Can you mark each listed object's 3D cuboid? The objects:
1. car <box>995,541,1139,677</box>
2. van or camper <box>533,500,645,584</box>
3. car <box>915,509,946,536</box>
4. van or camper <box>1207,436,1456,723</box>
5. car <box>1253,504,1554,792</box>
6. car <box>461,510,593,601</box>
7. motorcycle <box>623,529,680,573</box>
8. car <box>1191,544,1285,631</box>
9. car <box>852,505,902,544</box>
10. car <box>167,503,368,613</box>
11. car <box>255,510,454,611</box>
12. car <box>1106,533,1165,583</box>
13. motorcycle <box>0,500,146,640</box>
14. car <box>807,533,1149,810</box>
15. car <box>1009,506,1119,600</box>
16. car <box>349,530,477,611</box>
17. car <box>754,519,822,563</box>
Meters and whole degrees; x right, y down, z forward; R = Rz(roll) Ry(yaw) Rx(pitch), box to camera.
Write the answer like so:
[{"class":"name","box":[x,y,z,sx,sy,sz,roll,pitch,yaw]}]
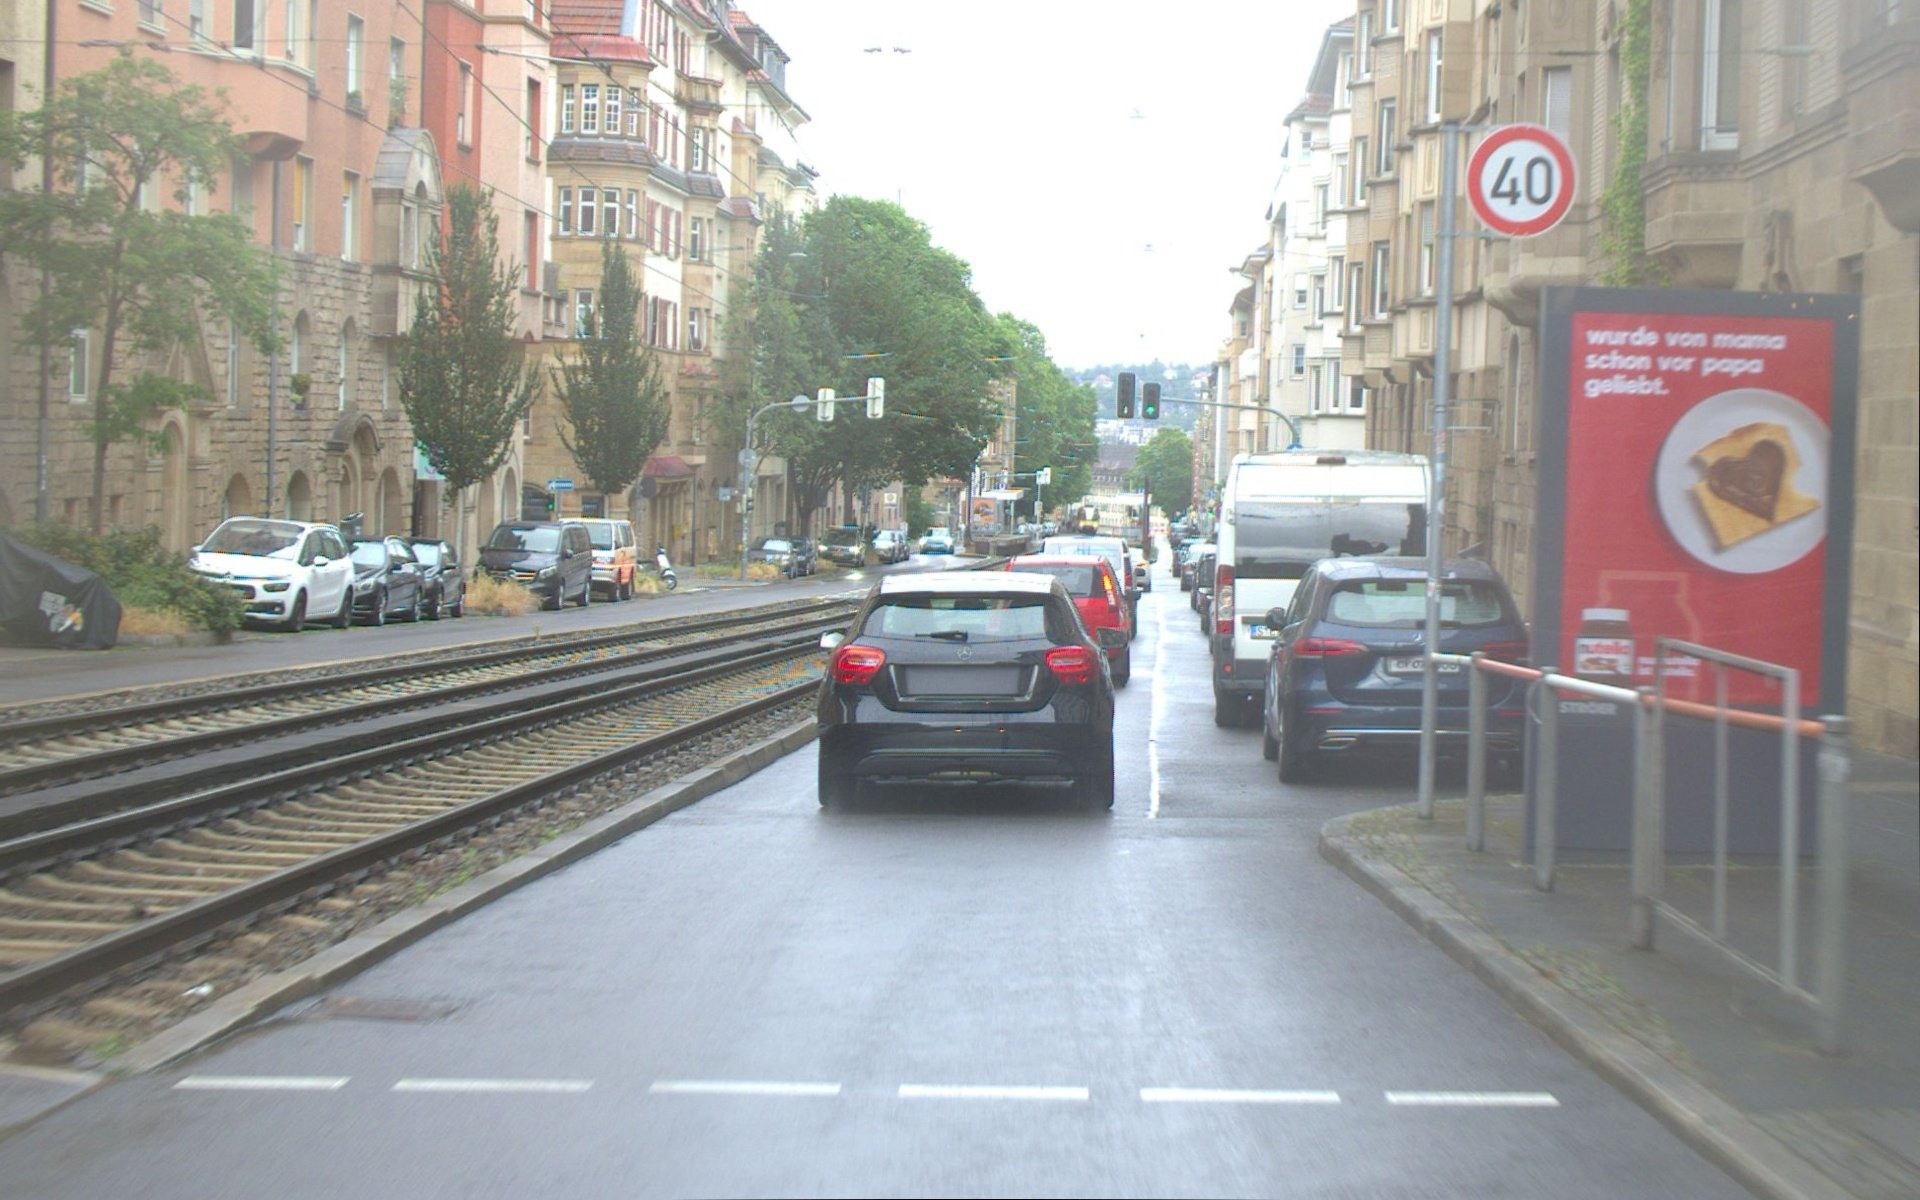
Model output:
[{"class":"car","box":[1.338,0.106,41.595,1.536,1.505,3.999,2,0,4]},{"class":"van or camper","box":[-8.895,-1.411,82.734,1.993,1.895,4.699,3,1,2]},{"class":"car","box":[-1.736,-4.584,203.508,1.795,1.543,4.000,3,1,0]},{"class":"van or camper","box":[3.460,-0.212,33.105,2.065,2.460,6.118,1,1,4]},{"class":"car","box":[3.076,0.273,24.627,1.769,1.802,4.482,2,1,3]},{"class":"car","box":[-9.401,-0.988,75.027,1.994,1.895,4.698,1,1,4]},{"class":"motorcycle","box":[-8.374,-1.343,93.330,1.439,1.130,0.619,3,1,33]},{"class":"car","box":[5.566,-0.274,68.517,1.711,1.623,3.999,2,1,6]},{"class":"car","box":[-3.965,-3.628,164.949,1.994,1.787,4.000,2,1,4]},{"class":"car","box":[-10.505,-0.656,52.440,1.785,1.584,4.350,1,1,6]},{"class":"car","box":[-10.130,-0.681,57.906,1.994,1.504,4.973,4,1,5]},{"class":"car","box":[5.912,-1.390,115.314,1.903,1.588,3.999,1,0,3]},{"class":"motorcycle","box":[-11.133,-0.378,41.994,2.258,1.637,1.293,2,1,-13]},{"class":"car","box":[0.178,0.396,21.642,1.946,1.559,3.642,1,0,2]},{"class":"car","box":[1.910,-0.897,64.266,1.921,1.649,4.000,1,1,0]},{"class":"car","box":[-10.061,-0.562,63.480,1.642,1.393,3.884,2,1,1]},{"class":"car","box":[-6.327,-2.177,126.841,1.994,1.512,4.000,2,1,4]}]
